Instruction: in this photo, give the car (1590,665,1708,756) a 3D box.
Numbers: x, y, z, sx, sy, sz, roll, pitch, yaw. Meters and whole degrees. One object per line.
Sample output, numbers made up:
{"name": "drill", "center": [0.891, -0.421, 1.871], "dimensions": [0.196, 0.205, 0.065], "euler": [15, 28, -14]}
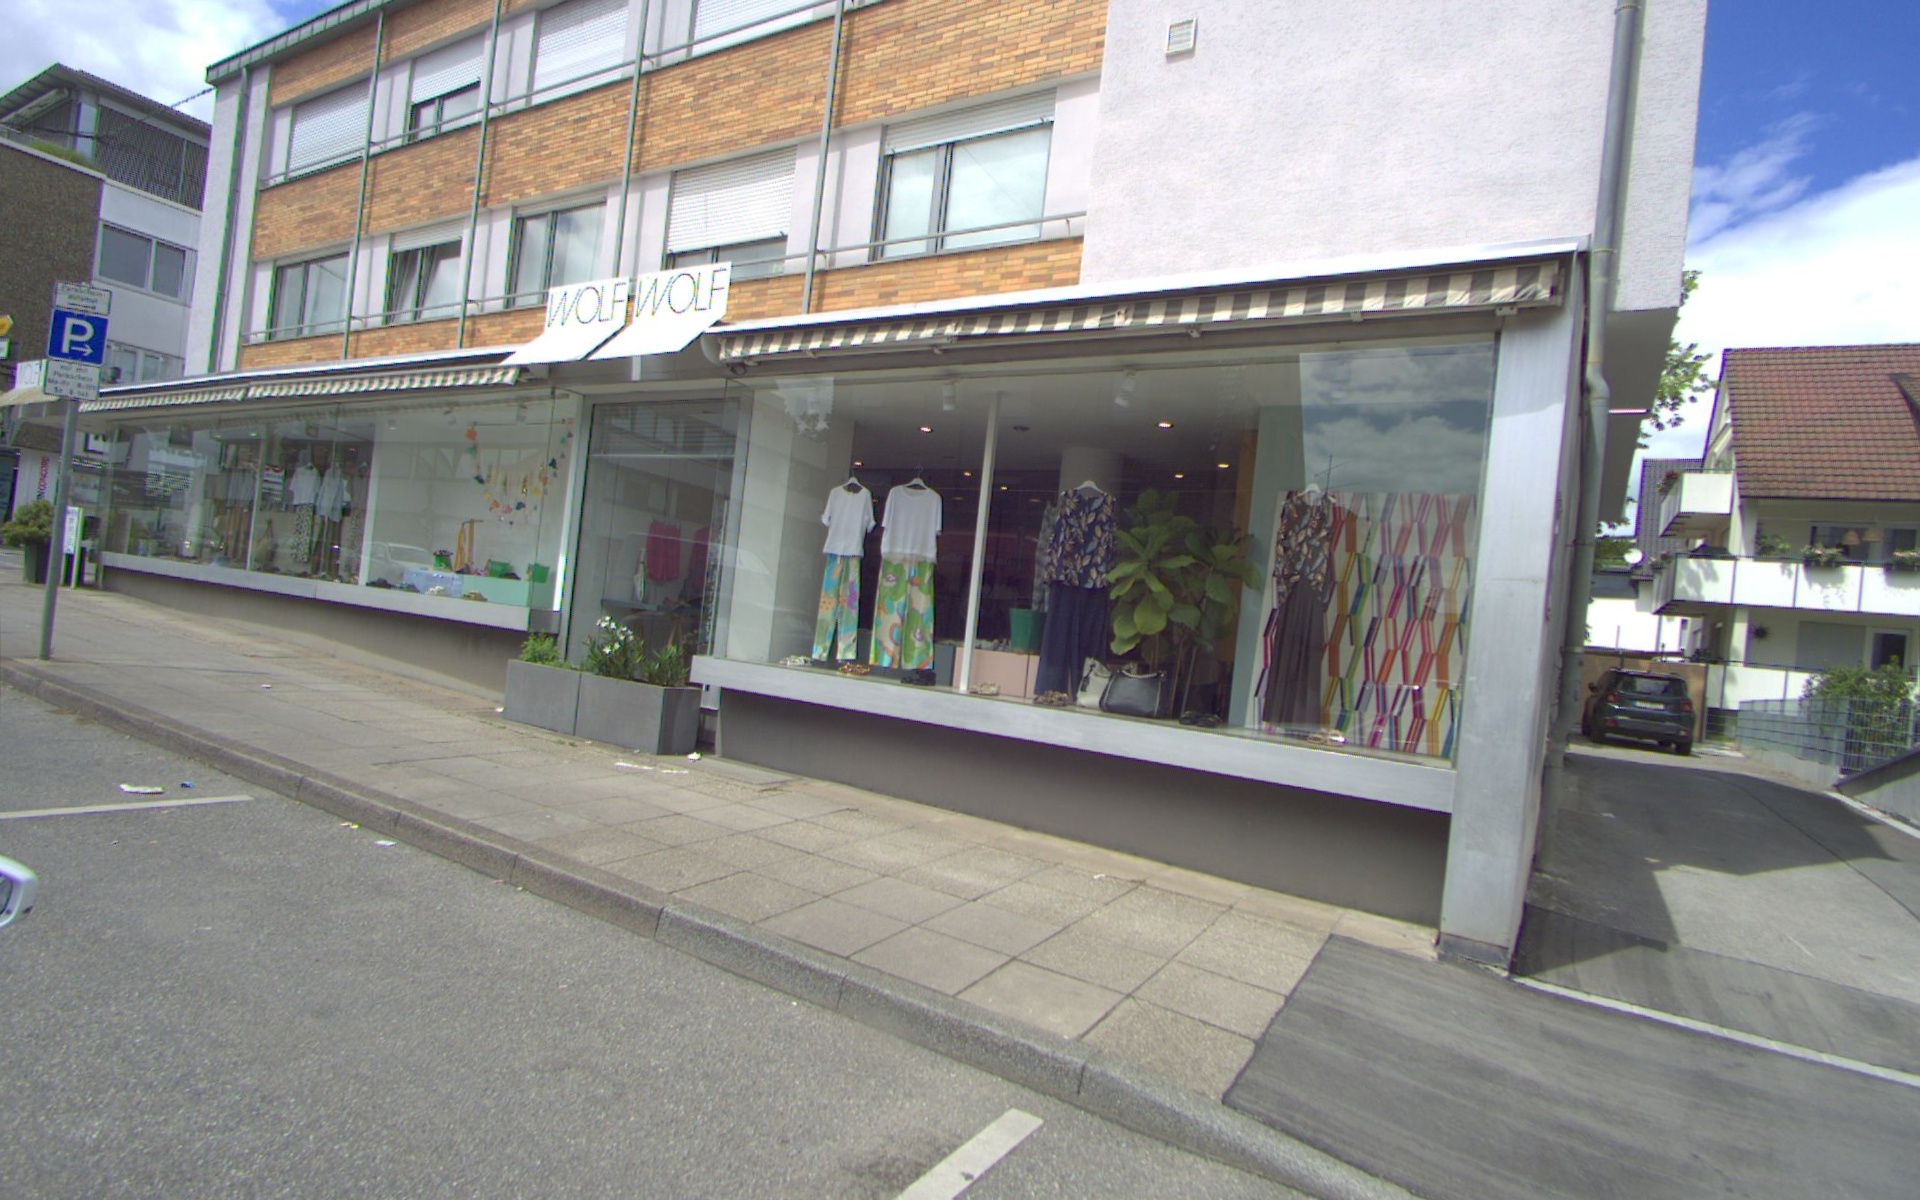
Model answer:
{"name": "car", "center": [15.324, 2.415, 22.275], "dimensions": [1.663, 1.643, 3.982], "euler": [6, 0, 40]}
